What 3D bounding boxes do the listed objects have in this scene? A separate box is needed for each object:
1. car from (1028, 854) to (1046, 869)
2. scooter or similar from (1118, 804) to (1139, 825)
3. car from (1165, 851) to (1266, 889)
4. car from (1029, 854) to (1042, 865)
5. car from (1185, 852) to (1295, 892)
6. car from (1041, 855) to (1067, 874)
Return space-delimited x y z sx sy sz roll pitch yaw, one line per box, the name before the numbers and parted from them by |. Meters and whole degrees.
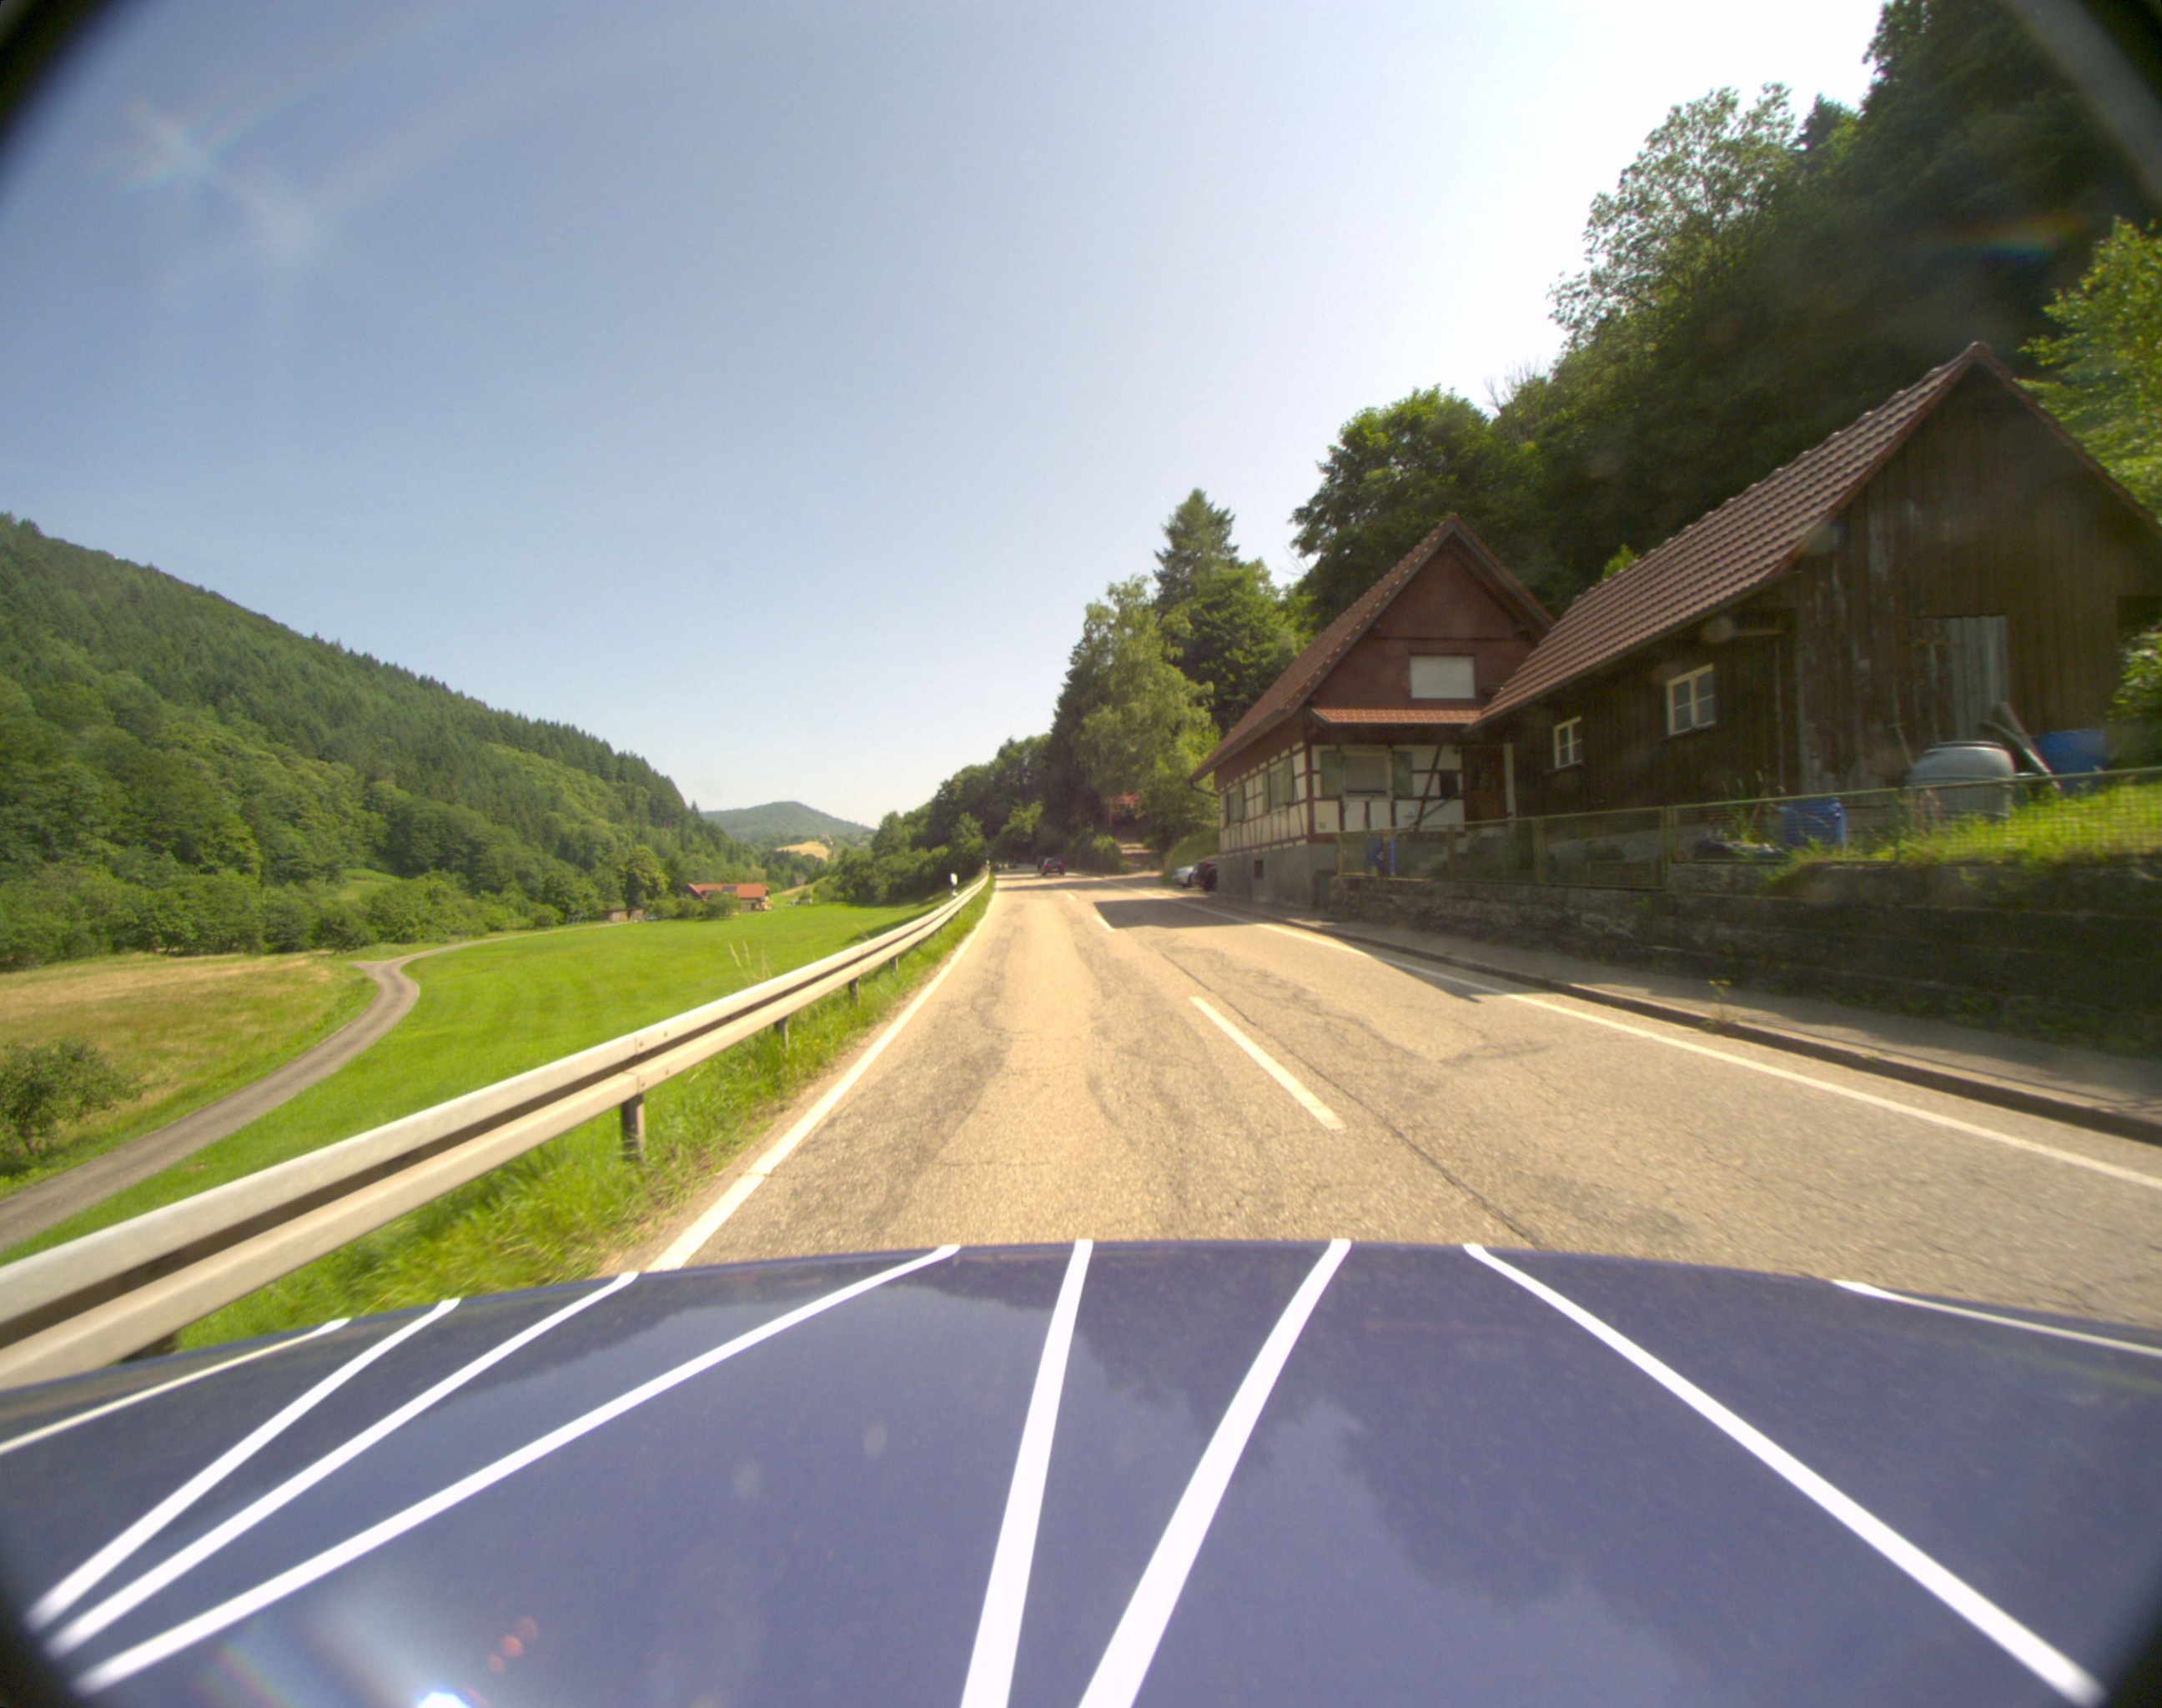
car | -5.361 0.890 91.258 1.895 1.635 4.255 -3 1 -6
scooter or similar | 5.650 -4.651 90.240 1.983 2.015 4.404 -6 1 -1
car | 5.741 0.670 32.652 3.828 1.409 1.856 -2 1 -8
car | -7.132 0.816 117.751 1.783 1.429 3.997 -5 2 -5
car | 6.244 0.676 30.064 3.828 1.425 1.862 -1 1 -8
car | -2.290 0.839 63.703 1.770 1.388 4.142 -3 1 -7
